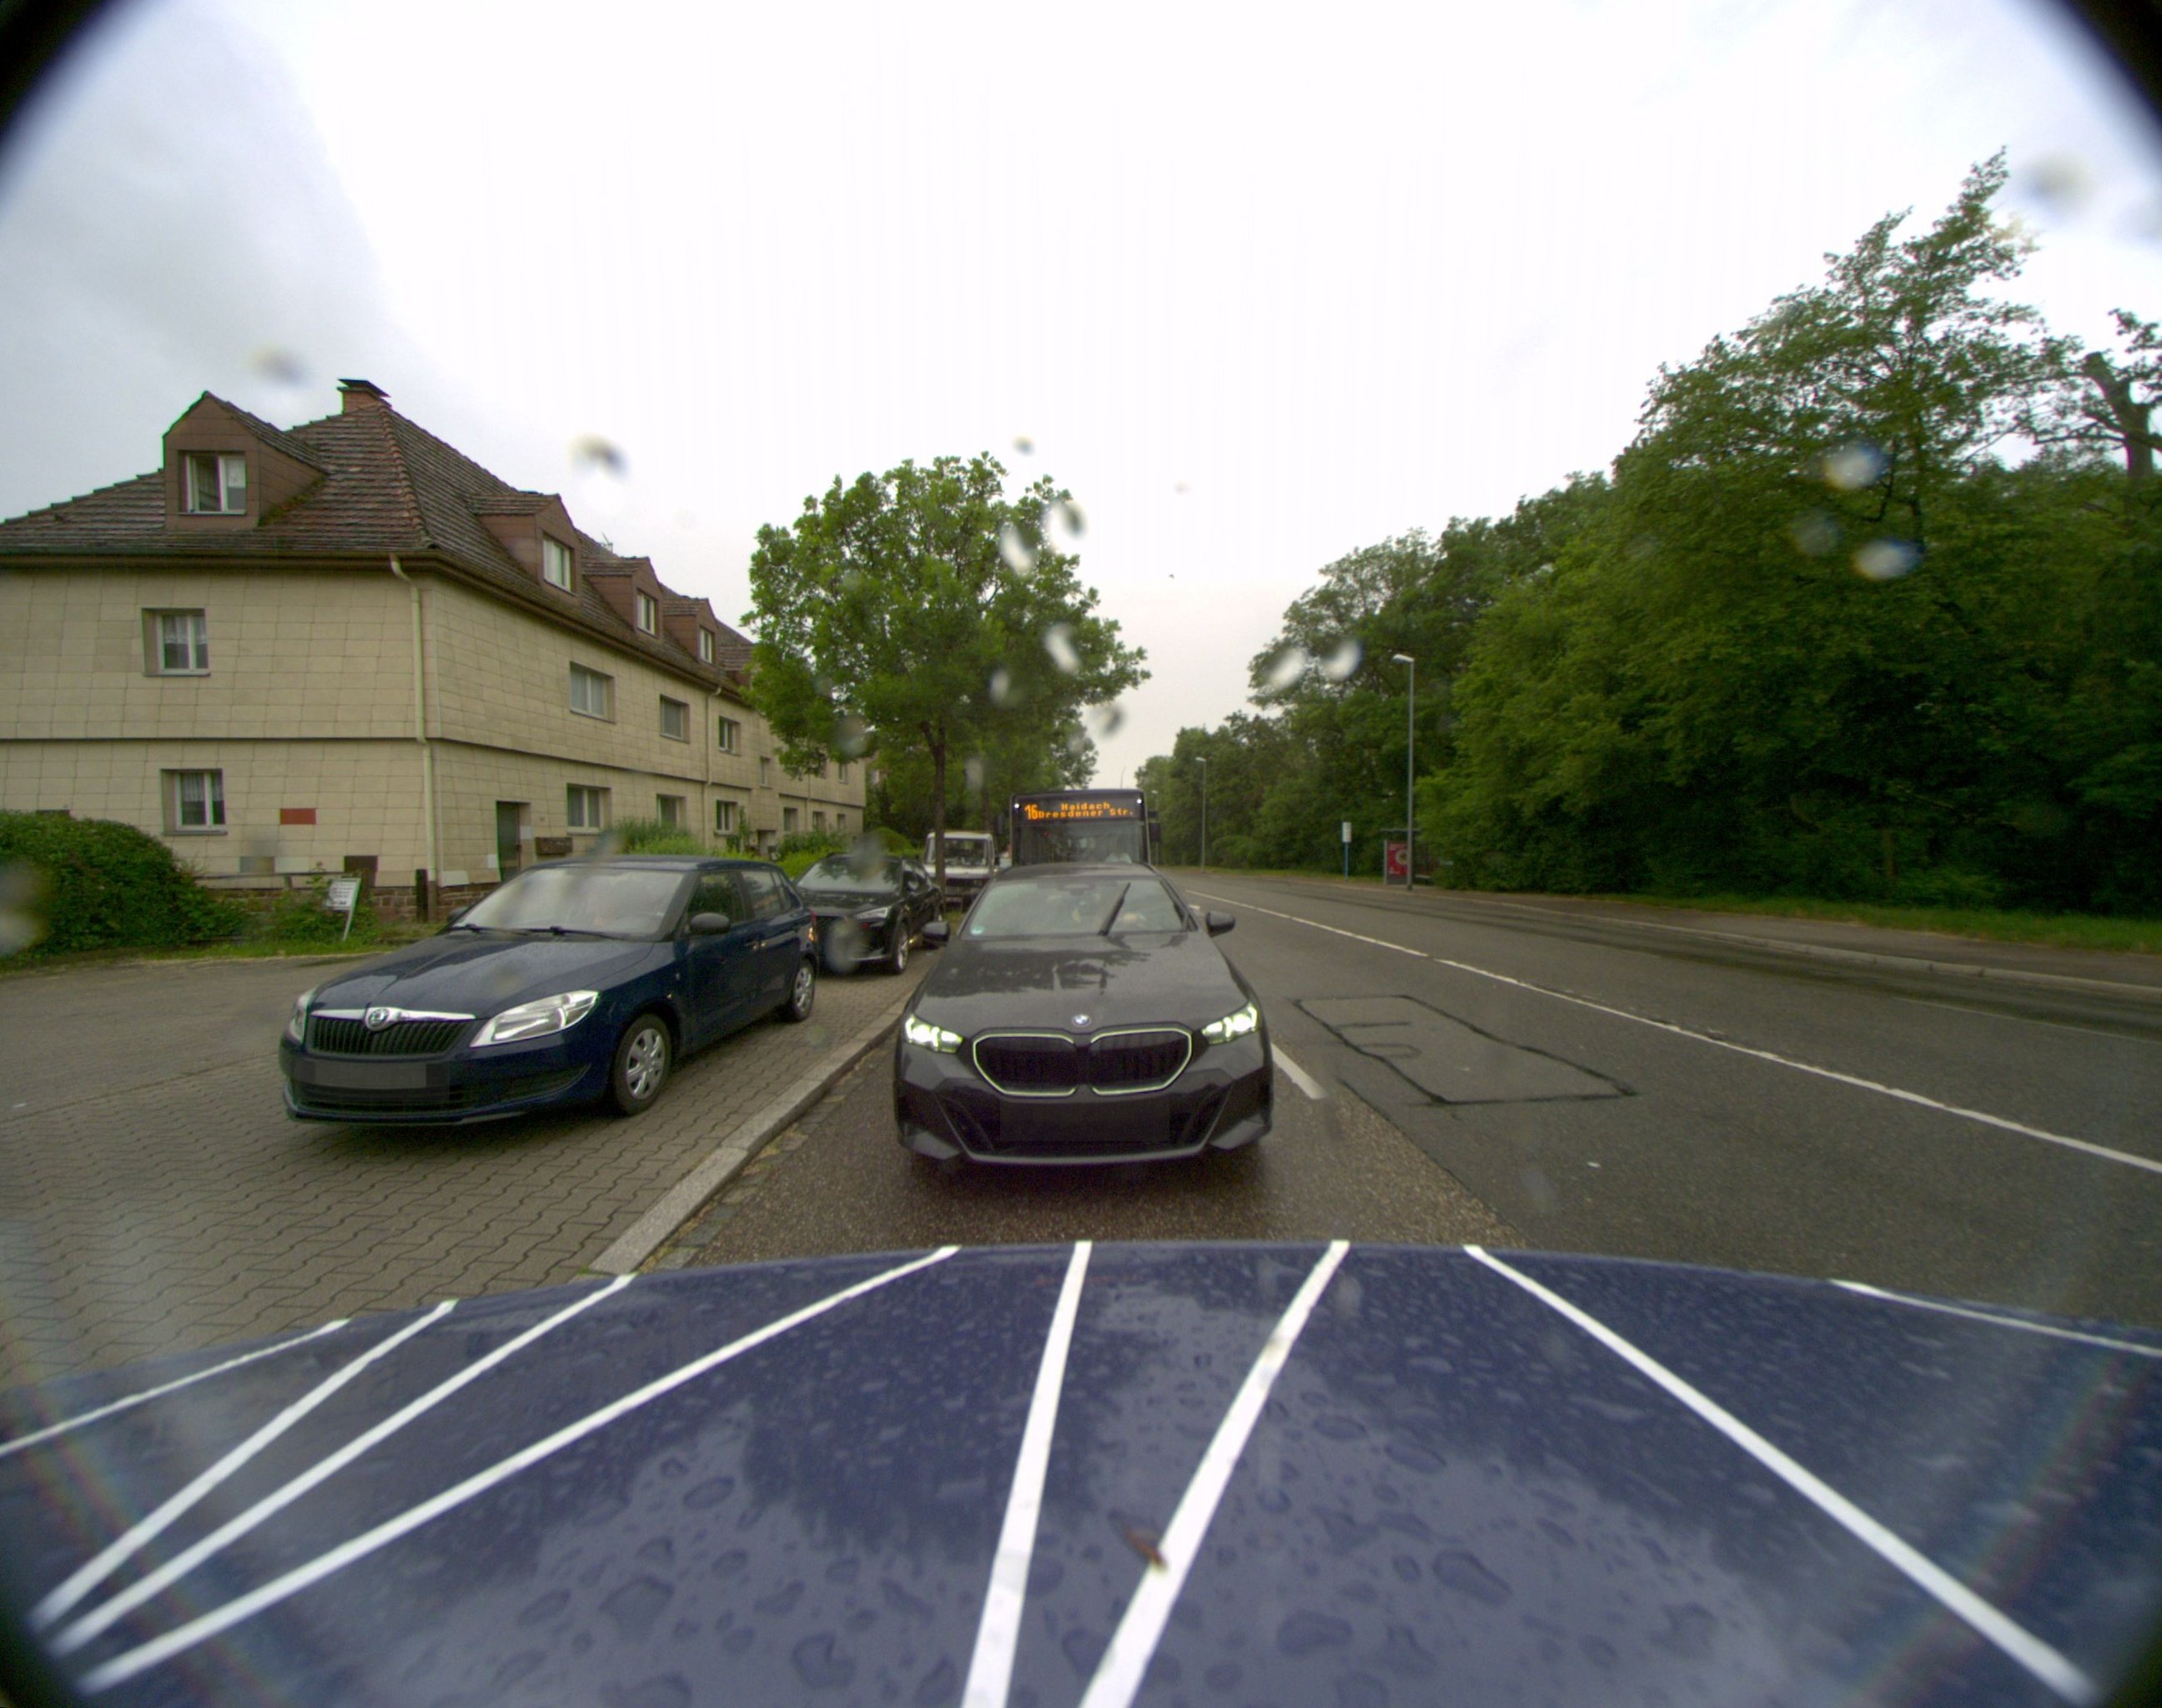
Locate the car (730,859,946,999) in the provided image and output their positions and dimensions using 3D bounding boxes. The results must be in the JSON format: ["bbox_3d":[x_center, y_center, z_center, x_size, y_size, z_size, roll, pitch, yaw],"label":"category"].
[{"bbox_3d":[-3.072,0.852,10.480,1.720,1.455,3.999,1,1,-1],"label":"car"}]

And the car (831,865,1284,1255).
[{"bbox_3d":[-0.073,0.928,5.440,1.882,1.520,4.316,-3,0,1],"label":"car"}]

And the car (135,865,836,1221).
[{"bbox_3d":[-3.254,0.857,5.322,1.720,1.416,3.999,1,1,1],"label":"car"}]

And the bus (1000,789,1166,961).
[{"bbox_3d":[0.164,0.312,17.817,2.767,2.858,9.403,-2,1,2],"label":"bus"}]

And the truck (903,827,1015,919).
[{"bbox_3d":[-3.130,0.451,20.787,1.998,2.184,5.756,0,0,2],"label":"truck"}]
